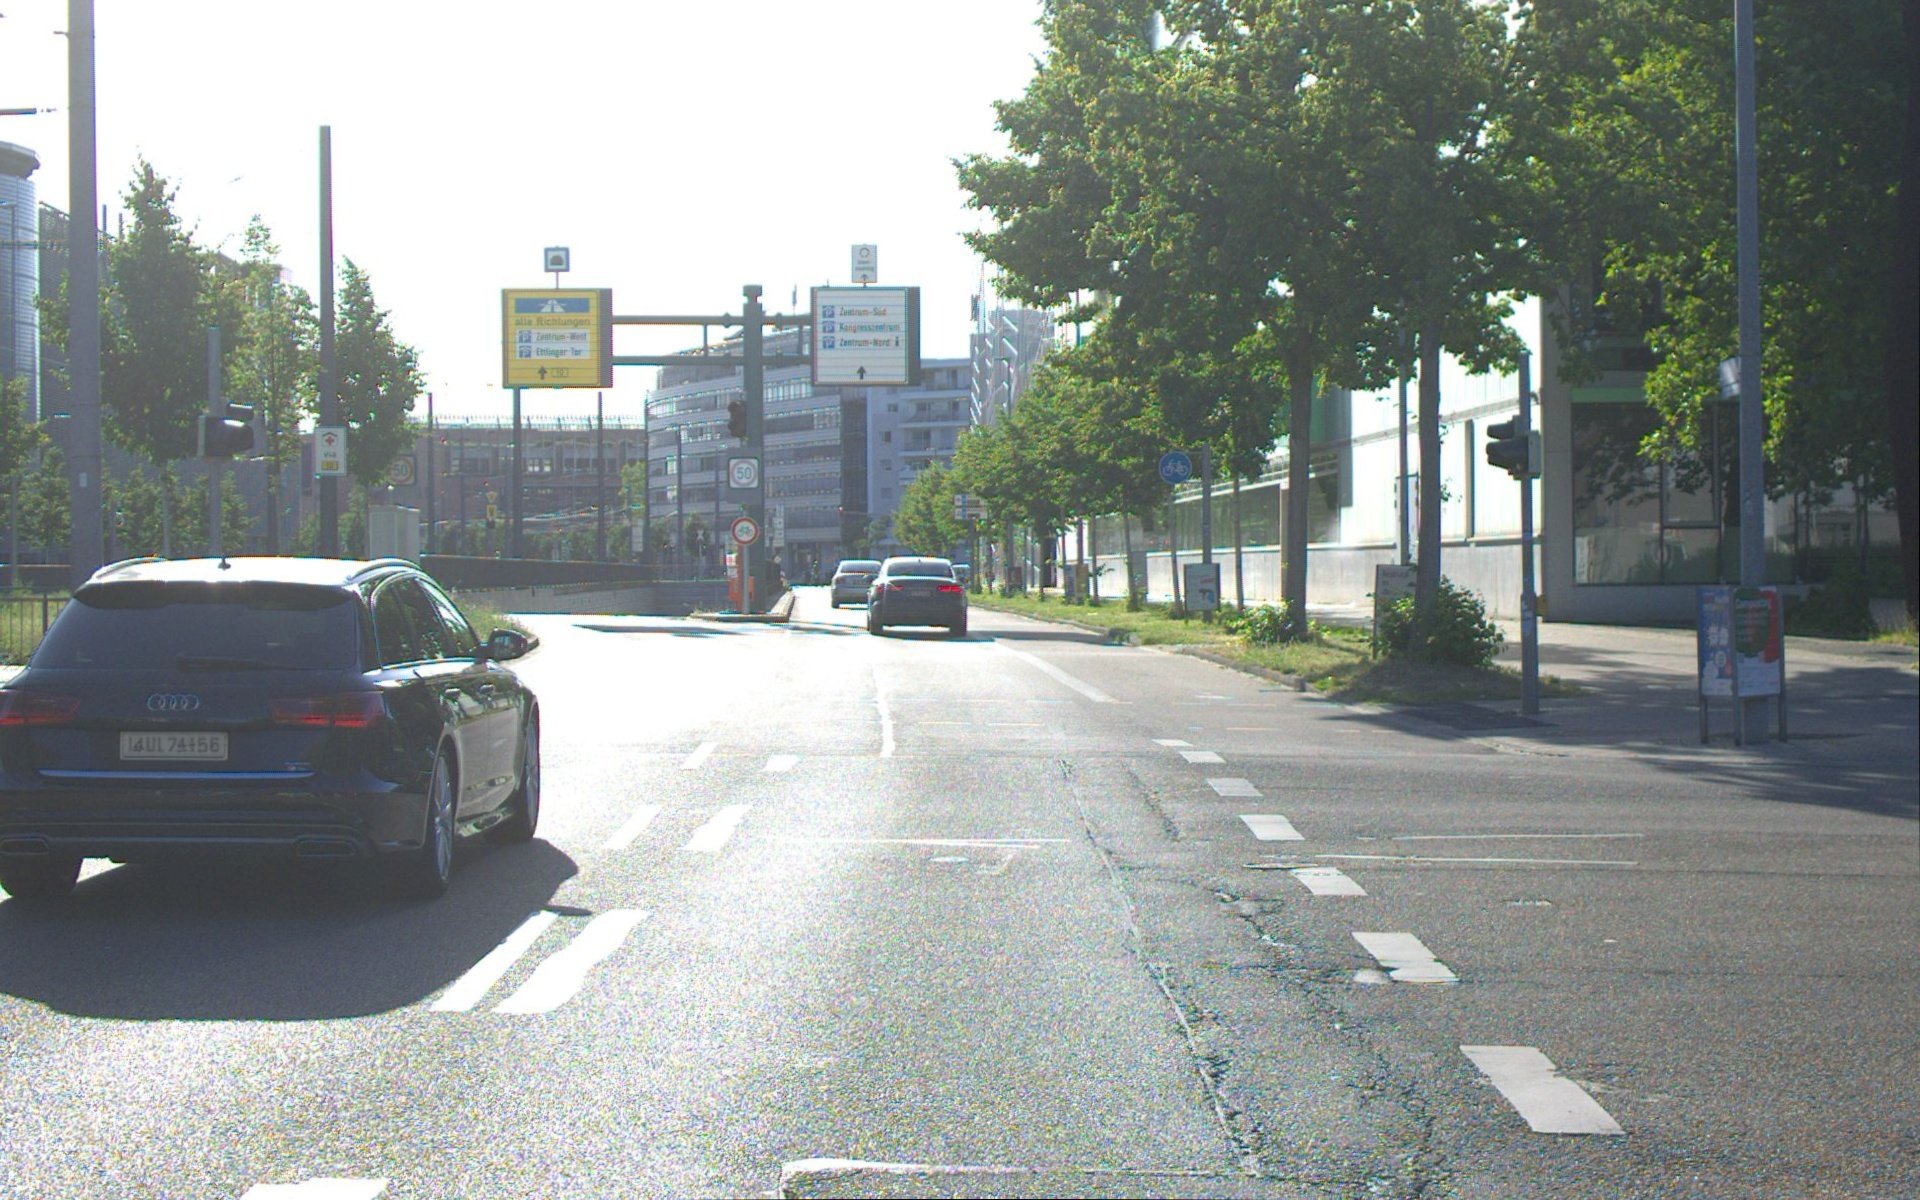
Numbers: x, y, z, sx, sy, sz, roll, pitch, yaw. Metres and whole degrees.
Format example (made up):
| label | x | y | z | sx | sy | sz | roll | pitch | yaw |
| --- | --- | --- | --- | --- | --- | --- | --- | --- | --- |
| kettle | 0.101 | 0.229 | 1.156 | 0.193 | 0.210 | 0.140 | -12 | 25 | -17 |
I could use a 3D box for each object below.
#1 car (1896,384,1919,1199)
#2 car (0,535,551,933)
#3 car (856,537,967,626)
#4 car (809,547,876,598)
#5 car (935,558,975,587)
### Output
| label | x | y | z | sx | sy | sz | roll | pitch | yaw |
| --- | --- | --- | --- | --- | --- | --- | --- | --- | --- |
| car | 3.728 | 0.541 | 7.377 | 1.852 | 1.808 | 4.105 | 2 | 1 | 38 |
| car | -3.065 | 0.478 | 15.660 | 1.812 | 1.422 | 4.690 | -1 | 2 | 0 |
| car | -0.915 | -0.357 | 62.688 | 1.852 | 1.541 | 4.001 | 1 | 1 | -3 |
| car | -3.570 | -0.853 | 104.934 | 1.993 | 1.460 | 4.001 | 1 | 1 | -2 |
| car | -0.274 | -1.515 | 186.261 | 1.852 | 1.476 | 4.854 | -2 | 1 | -3 |
